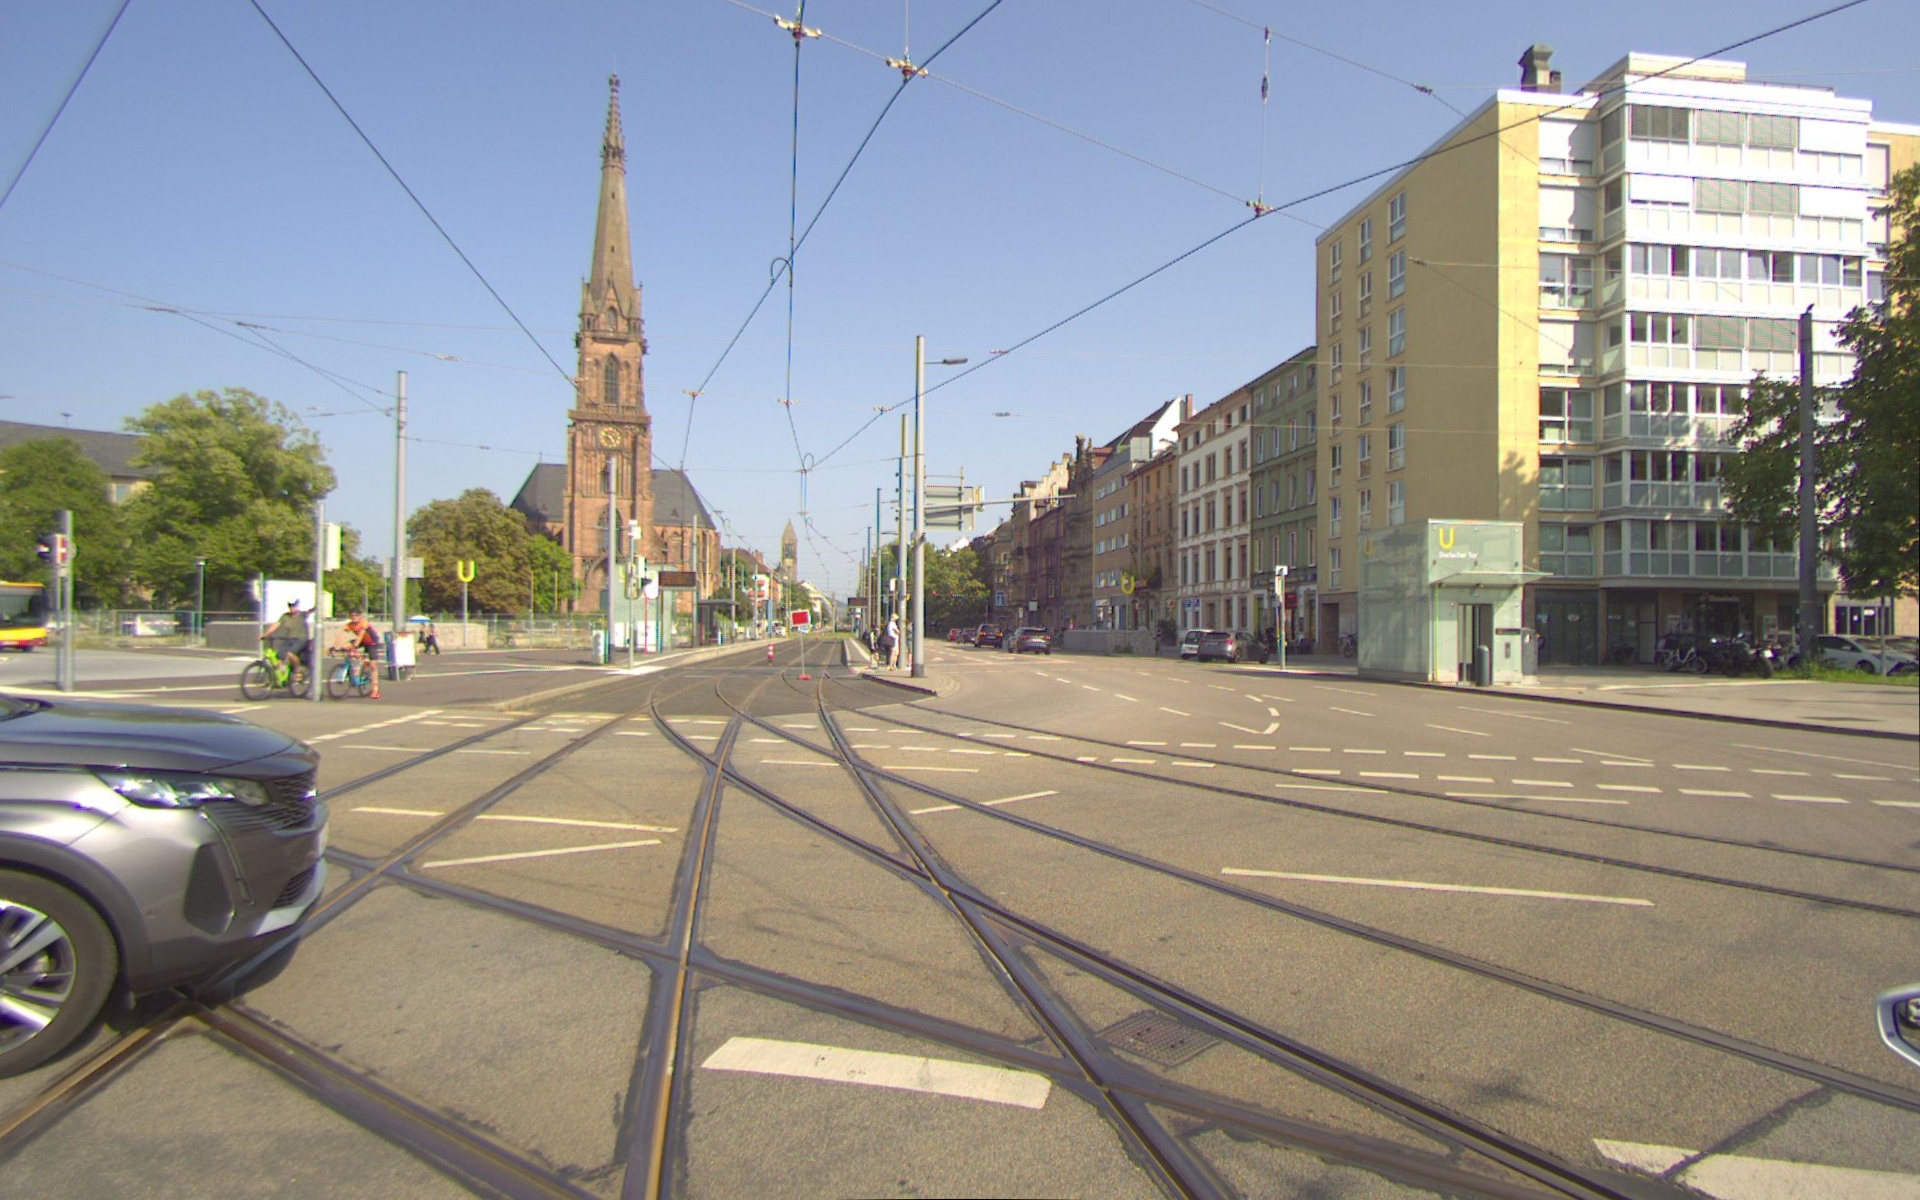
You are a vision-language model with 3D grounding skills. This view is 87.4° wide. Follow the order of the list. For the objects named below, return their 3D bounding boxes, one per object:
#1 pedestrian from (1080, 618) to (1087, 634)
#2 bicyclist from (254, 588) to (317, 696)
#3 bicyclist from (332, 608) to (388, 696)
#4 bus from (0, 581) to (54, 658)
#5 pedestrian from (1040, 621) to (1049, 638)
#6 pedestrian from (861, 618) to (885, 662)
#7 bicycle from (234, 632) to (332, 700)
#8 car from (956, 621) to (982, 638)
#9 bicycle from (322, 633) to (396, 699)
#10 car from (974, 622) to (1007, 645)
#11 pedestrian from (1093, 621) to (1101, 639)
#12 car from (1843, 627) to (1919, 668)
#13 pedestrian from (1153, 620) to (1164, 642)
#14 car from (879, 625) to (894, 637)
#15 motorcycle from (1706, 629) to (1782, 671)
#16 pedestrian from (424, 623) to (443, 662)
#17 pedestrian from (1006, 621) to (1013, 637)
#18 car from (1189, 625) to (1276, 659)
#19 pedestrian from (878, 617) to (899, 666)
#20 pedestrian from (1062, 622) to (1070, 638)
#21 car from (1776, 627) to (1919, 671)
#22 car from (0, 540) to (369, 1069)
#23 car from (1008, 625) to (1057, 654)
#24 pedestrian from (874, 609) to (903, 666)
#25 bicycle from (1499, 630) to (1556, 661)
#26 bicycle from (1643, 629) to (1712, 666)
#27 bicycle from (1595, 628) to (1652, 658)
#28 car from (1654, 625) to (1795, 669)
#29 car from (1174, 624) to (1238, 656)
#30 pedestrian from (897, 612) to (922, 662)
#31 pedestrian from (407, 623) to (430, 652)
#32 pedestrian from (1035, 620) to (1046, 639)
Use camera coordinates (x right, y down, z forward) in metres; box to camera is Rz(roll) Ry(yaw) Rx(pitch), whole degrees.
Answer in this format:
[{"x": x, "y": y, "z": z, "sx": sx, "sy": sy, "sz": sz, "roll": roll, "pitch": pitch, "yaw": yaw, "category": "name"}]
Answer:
[{"x": 13.222, "y": 2.785, "z": 107.881, "sx": 0.594, "sy": 1.714, "sz": 0.586, "roll": 0, "pitch": -1, "yaw": -10, "category": "pedestrian"}, {"x": -12.748, "y": 0.785, "z": 19.002, "sx": 0.569, "sy": 2.001, "sz": 0.808, "roll": 0, "pitch": -1, "yaw": 8, "category": "bicyclist"}, {"x": -11.423, "y": 0.976, "z": 19.143, "sx": 0.501, "sy": 1.652, "sz": 0.808, "roll": 0, "pitch": -1, "yaw": 8, "category": "bicyclist"}, {"x": -45.437, "y": 0.887, "z": 45.860, "sx": 13.096, "sy": 3.221, "sz": 3.215, "roll": -1, "pitch": -2, "yaw": 35, "category": "bus"}, {"x": 8.644, "y": 3.052, "z": 102.932, "sx": 0.738, "sy": 1.752, "sz": 0.799, "roll": 0, "pitch": -1, "yaw": -10, "category": "pedestrian"}, {"x": -3.150, "y": 1.446, "z": 36.310, "sx": 0.795, "sy": 1.568, "sz": 0.547, "roll": -2, "pitch": -1, "yaw": -6, "category": "pedestrian"}, {"x": -12.741, "y": 1.213, "z": 18.970, "sx": 0.369, "sy": 1.181, "sz": 1.860, "roll": 0, "pitch": -1, "yaw": 8, "category": "bicycle"}, {"x": 0.805, "y": 2.698, "z": 92.625, "sx": 1.835, "sy": 1.443, "sz": 4.353, "roll": 2, "pitch": -2, "yaw": -6, "category": "car"}, {"x": -11.428, "y": 1.227, "z": 19.138, "sx": 0.305, "sy": 1.181, "sz": 1.500, "roll": 0, "pitch": -1, "yaw": 8, "category": "bicycle"}, {"x": 2.205, "y": 2.466, "z": 74.406, "sx": 1.803, "sy": 1.642, "sz": 4.353, "roll": 2, "pitch": -2, "yaw": -6, "category": "car"}, {"x": 13.750, "y": 3.018, "z": 100.842, "sx": 0.594, "sy": 1.856, "sz": 0.741, "roll": 0, "pitch": -1, "yaw": -10, "category": "pedestrian"}, {"x": 36.875, "y": 1.805, "z": 38.712, "sx": 1.962, "sy": 1.527, "sz": 3.997, "roll": 0, "pitch": -1, "yaw": -6, "category": "car"}, {"x": 14.819, "y": 2.282, "z": 74.852, "sx": 0.599, "sy": 1.650, "sz": 0.736, "roll": 0, "pitch": -1, "yaw": -7, "category": "pedestrian"}, {"x": -9.820, "y": 4.097, "z": 134.219, "sx": 1.714, "sy": 1.547, "sz": 3.869, "roll": 0, "pitch": -1, "yaw": -8, "category": "car"}, {"x": 22.523, "y": 1.419, "z": 28.918, "sx": 0.691, "sy": 1.162, "sz": 2.303, "roll": 0, "pitch": -1, "yaw": 9, "category": "motorcycle"}, {"x": -24.205, "y": 1.962, "z": 46.215, "sx": 0.436, "sy": 1.783, "sz": 0.639, "roll": -1, "pitch": -1, "yaw": 36, "category": "pedestrian"}, {"x": 5.384, "y": 3.126, "z": 108.774, "sx": 0.556, "sy": 1.752, "sz": 0.744, "roll": 0, "pitch": -1, "yaw": -10, "category": "pedestrian"}, {"x": 12.051, "y": 1.842, "z": 44.288, "sx": 1.823, "sy": 1.442, "sz": 4.383, "roll": -1, "pitch": -3, "yaw": 44, "category": "car"}, {"x": -2.416, "y": 1.407, "z": 34.129, "sx": 0.623, "sy": 1.618, "sz": 0.467, "roll": -2, "pitch": -1, "yaw": -9, "category": "pedestrian"}, {"x": 11.504, "y": 3.282, "z": 109.519, "sx": 0.709, "sy": 1.811, "sz": 0.855, "roll": 0, "pitch": -1, "yaw": -6, "category": "pedestrian"}, {"x": 32.557, "y": 1.753, "z": 36.732, "sx": 1.962, "sy": 1.527, "sz": 3.997, "roll": 0, "pitch": -1, "yaw": -6, "category": "car"}, {"x": -4.565, "y": 0.633, "z": 3.392, "sx": 4.302, "sy": 1.642, "sz": 1.986, "roll": 1, "pitch": -1, "yaw": -28, "category": "car"}, {"x": 3.887, "y": 2.121, "z": 54.581, "sx": 1.835, "sy": 1.443, "sz": 4.353, "roll": 2, "pitch": -2, "yaw": -6, "category": "car"}, {"x": -2.311, "y": 1.213, "z": 32.675, "sx": 0.819, "sy": 1.811, "sz": 0.729, "roll": -2, "pitch": -1, "yaw": 1, "category": "pedestrian"}, {"x": 22.688, "y": 1.820, "z": 40.186, "sx": 1.985, "sy": 1.222, "sz": 0.670, "roll": 0, "pitch": -1, "yaw": -7, "category": "bicycle"}, {"x": 25.860, "y": 1.694, "z": 36.250, "sx": 0.515, "sy": 1.251, "sz": 2.297, "roll": 0, "pitch": -1, "yaw": -11, "category": "bicycle"}, {"x": 27.331, "y": 1.760, "z": 41.367, "sx": 1.985, "sy": 1.199, "sz": 0.670, "roll": 0, "pitch": -1, "yaw": -7, "category": "bicycle"}, {"x": 27.417, "y": 1.648, "z": 36.190, "sx": 1.631, "sy": 1.460, "sz": 4.191, "roll": 0, "pitch": -1, "yaw": -6, "category": "car"}, {"x": 11.925, "y": 1.923, "z": 48.575, "sx": 1.599, "sy": 1.483, "sz": 3.511, "roll": -1, "pitch": -2, "yaw": 41, "category": "car"}, {"x": -1.775, "y": 1.300, "z": 35.260, "sx": 0.801, "sy": 1.715, "sz": 0.651, "roll": -2, "pitch": -1, "yaw": -7, "category": "pedestrian"}, {"x": -24.929, "y": 1.730, "z": 46.217, "sx": 0.549, "sy": 1.309, "sz": 0.765, "roll": -1, "pitch": -1, "yaw": 36, "category": "pedestrian"}, {"x": 8.031, "y": 2.925, "z": 100.132, "sx": 0.912, "sy": 1.856, "sz": 0.799, "roll": 0, "pitch": -1, "yaw": -10, "category": "pedestrian"}]
